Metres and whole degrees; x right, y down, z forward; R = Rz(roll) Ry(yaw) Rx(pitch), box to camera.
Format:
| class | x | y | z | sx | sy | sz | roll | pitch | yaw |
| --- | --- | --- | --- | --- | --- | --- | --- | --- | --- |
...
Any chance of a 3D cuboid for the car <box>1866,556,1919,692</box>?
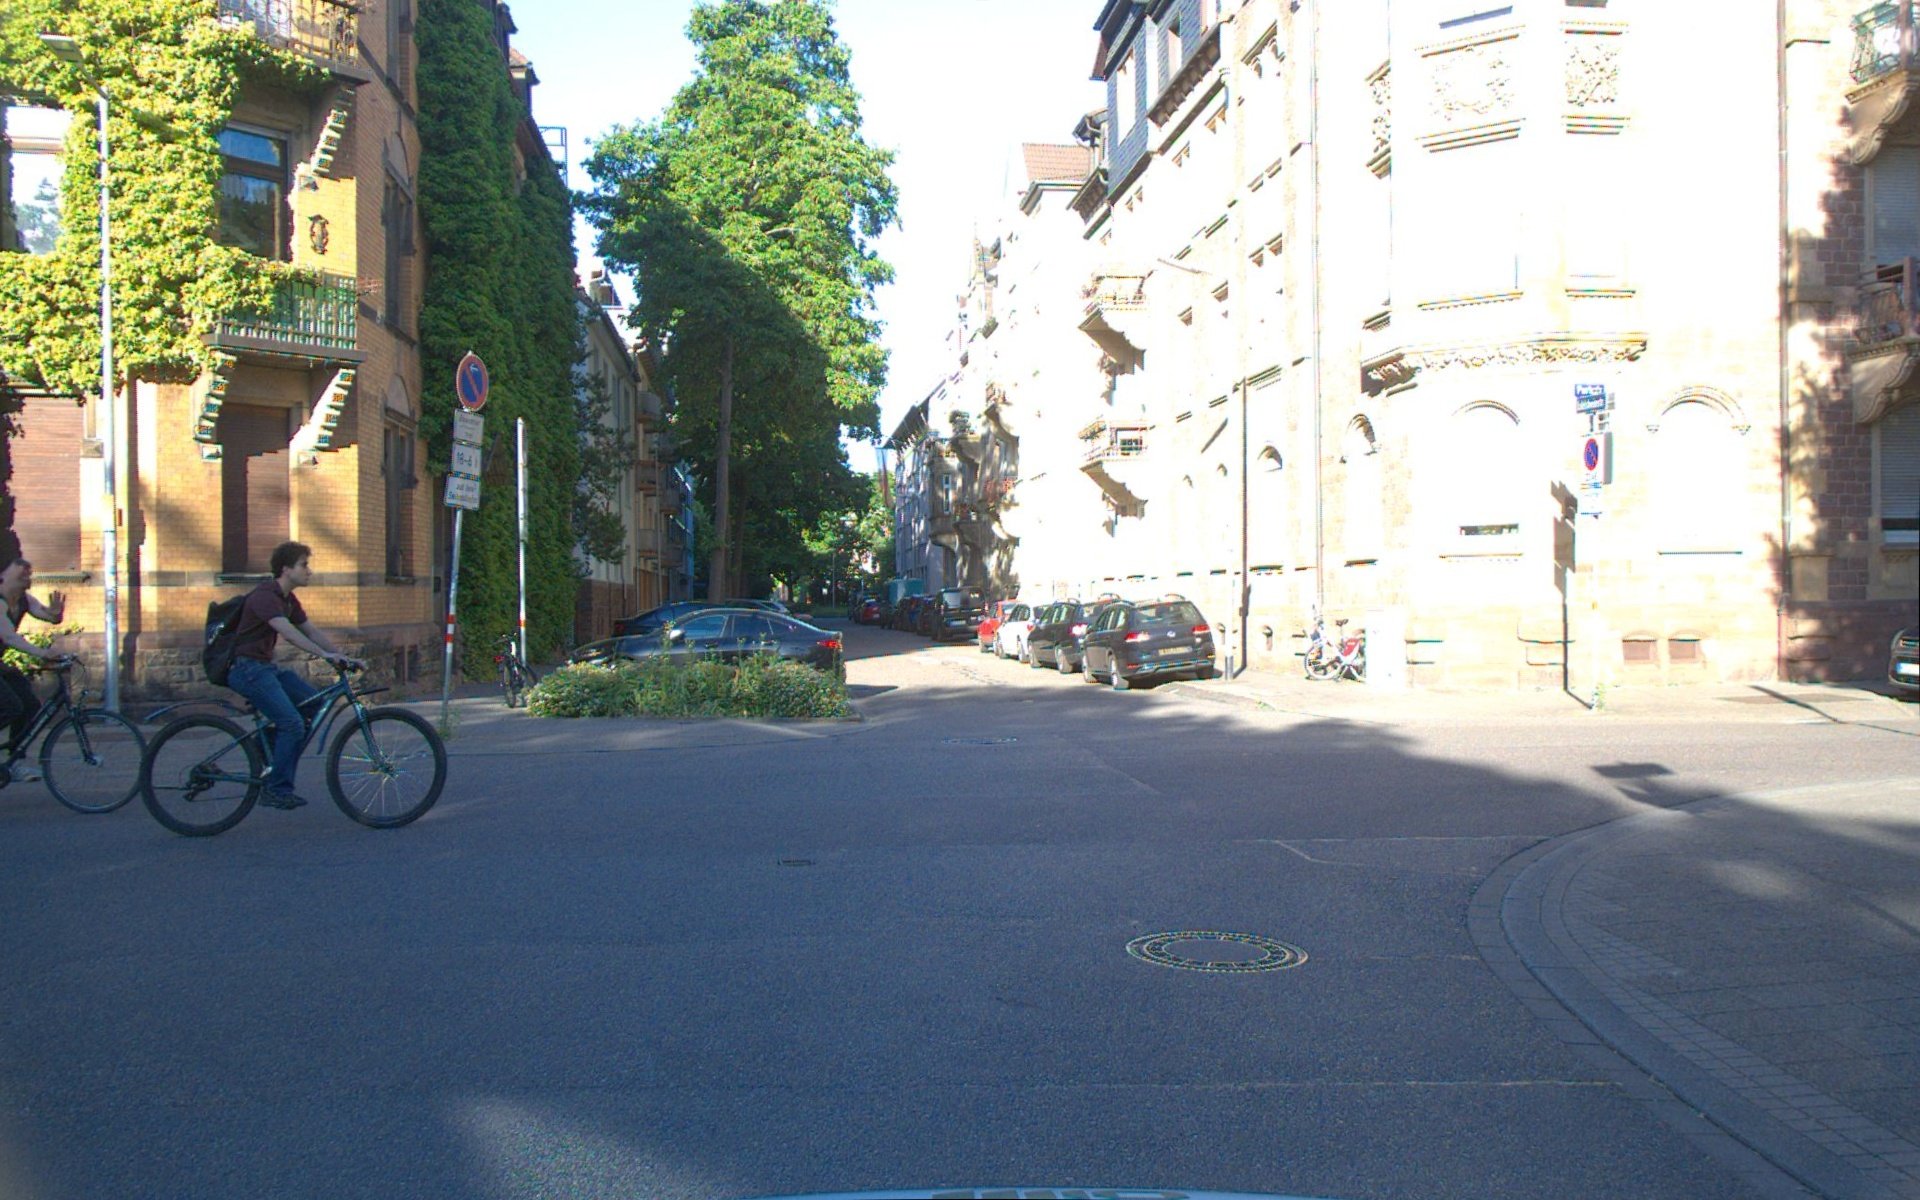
| class | x | y | z | sx | sy | sz | roll | pitch | yaw |
| --- | --- | --- | --- | --- | --- | --- | --- | --- | --- |
| car | 13.639 | 0.286 | 20.447 | 4.169 | 1.650 | 1.730 | 0 | 1 | -12 |

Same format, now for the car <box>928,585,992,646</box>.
| class | x | y | z | sx | sy | sz | roll | pitch | yaw |
| --- | --- | --- | --- | --- | --- | --- | --- | --- | --- |
| car | -0.033 | 0.514 | 57.470 | 1.768 | 2.039 | 3.994 | 0 | 0 | -7 |

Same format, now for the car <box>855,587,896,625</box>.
| class | x | y | z | sx | sy | sz | roll | pitch | yaw |
| --- | --- | --- | --- | --- | --- | --- | --- | --- | --- |
| car | -5.124 | 0.365 | 99.699 | 2.125 | 2.276 | 4.783 | 0 | 0 | -7 |

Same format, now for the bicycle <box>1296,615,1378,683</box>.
| class | x | y | z | sx | sy | sz | roll | pitch | yaw |
| --- | --- | --- | --- | --- | --- | --- | --- | --- | --- |
| bicycle | 5.847 | 0.748 | 25.697 | 0.506 | 1.015 | 1.568 | 0 | 0 | -18 |

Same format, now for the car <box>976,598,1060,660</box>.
| class | x | y | z | sx | sy | sz | roll | pitch | yaw |
| --- | --- | --- | --- | --- | --- | --- | --- | --- | --- |
| car | 1.531 | 0.752 | 45.106 | 1.704 | 1.609 | 3.994 | 0 | 0 | -7 |

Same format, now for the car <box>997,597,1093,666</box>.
| class | x | y | z | sx | sy | sz | roll | pitch | yaw |
| --- | --- | --- | --- | --- | --- | --- | --- | --- | --- |
| car | 2.014 | 0.735 | 40.410 | 1.704 | 1.609 | 3.994 | 0 | 0 | -7 |

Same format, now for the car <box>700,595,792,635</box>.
| class | x | y | z | sx | sy | sz | roll | pitch | yaw |
| --- | --- | --- | --- | --- | --- | --- | --- | --- | --- |
| car | -8.827 | 0.614 | 68.247 | 3.731 | 1.603 | 1.706 | 0 | 0 | -9 |

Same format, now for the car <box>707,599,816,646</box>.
| class | x | y | z | sx | sy | sz | roll | pitch | yaw |
| --- | --- | --- | --- | --- | --- | --- | --- | --- | --- |
| car | -7.046 | 0.784 | 58.579 | 3.733 | 1.603 | 1.706 | 0 | 0 | -11 |

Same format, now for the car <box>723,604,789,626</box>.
| class | x | y | z | sx | sy | sz | roll | pitch | yaw |
| --- | --- | --- | --- | --- | --- | --- | --- | --- | --- |
| car | -11.628 | 0.835 | 94.151 | 3.731 | 1.262 | 1.706 | 0 | 0 | -9 |

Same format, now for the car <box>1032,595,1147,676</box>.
| class | x | y | z | sx | sy | sz | roll | pitch | yaw |
| --- | --- | --- | --- | --- | --- | --- | --- | --- | --- |
| car | 2.683 | 0.716 | 35.080 | 1.704 | 1.609 | 3.994 | 0 | 0 | -7 |

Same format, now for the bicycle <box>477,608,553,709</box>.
| class | x | y | z | sx | sy | sz | roll | pitch | yaw |
| --- | --- | --- | --- | --- | --- | --- | --- | --- | --- |
| bicycle | -6.043 | 0.773 | 22.510 | 0.551 | 1.290 | 1.603 | -2 | 0 | 0 |

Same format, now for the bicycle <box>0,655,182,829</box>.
| class | x | y | z | sx | sy | sz | roll | pitch | yaw |
| --- | --- | --- | --- | --- | --- | --- | --- | --- | --- |
| bicycle | -6.486 | 0.978 | 11.352 | 1.930 | 1.091 | 0.695 | -2 | 0 | -15 |

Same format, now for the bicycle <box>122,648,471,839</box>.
| class | x | y | z | sx | sy | sz | roll | pitch | yaw |
| --- | --- | --- | --- | --- | --- | --- | --- | --- | --- |
| bicycle | -4.077 | 0.866 | 10.285 | 1.926 | 1.091 | 0.556 | 0 | 2 | -10 |

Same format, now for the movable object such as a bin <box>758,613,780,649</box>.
| class | x | y | z | sx | sy | sz | roll | pitch | yaw |
| --- | --- | --- | --- | --- | --- | --- | --- | --- | --- |
| movable object such as a bin | -5.813 | 0.940 | 50.334 | 0.618 | 1.071 | 0.566 | 0 | 0 | -13 |

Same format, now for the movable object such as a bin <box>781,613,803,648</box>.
| class | x | y | z | sx | sy | sz | roll | pitch | yaw |
| --- | --- | --- | --- | --- | --- | --- | --- | --- | --- |
| movable object such as a bin | -5.141 | 0.929 | 50.518 | 0.618 | 1.071 | 0.566 | 0 | 0 | -13 |

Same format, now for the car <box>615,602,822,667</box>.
| class | x | y | z | sx | sy | sz | roll | pitch | yaw |
| --- | --- | --- | --- | --- | --- | --- | --- | --- | --- |
| car | -5.671 | 0.791 | 39.033 | 4.745 | 1.460 | 1.707 | 0 | 0 | -9 |

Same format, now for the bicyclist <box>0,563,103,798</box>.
| class | x | y | z | sx | sy | sz | roll | pitch | yaw |
| --- | --- | --- | --- | --- | --- | --- | --- | --- | --- |
| bicyclist | -6.469 | 0.534 | 11.302 | 0.953 | 1.553 | 0.705 | 0 | 0 | -16 |

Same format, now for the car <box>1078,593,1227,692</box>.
| class | x | y | z | sx | sy | sz | roll | pitch | yaw |
| --- | --- | --- | --- | --- | --- | --- | --- | --- | --- |
| car | 3.286 | 0.694 | 28.944 | 1.704 | 1.609 | 3.994 | 0 | 0 | -7 |

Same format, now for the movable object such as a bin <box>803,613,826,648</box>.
| class | x | y | z | sx | sy | sz | roll | pitch | yaw |
| --- | --- | --- | --- | --- | --- | --- | --- | --- | --- |
| movable object such as a bin | -4.458 | 0.932 | 50.633 | 0.618 | 1.071 | 0.566 | 0 | 0 | -13 |

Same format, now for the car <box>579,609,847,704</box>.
| class | x | y | z | sx | sy | sz | roll | pitch | yaw |
| --- | --- | --- | --- | --- | --- | --- | --- | --- | --- |
| car | -3.999 | 0.888 | 26.957 | 4.164 | 1.460 | 1.996 | 0 | 0 | -9 |

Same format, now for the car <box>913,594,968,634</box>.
| class | x | y | z | sx | sy | sz | roll | pitch | yaw |
| --- | --- | --- | --- | --- | --- | --- | --- | --- | --- |
| car | -0.803 | 0.548 | 65.926 | 1.768 | 1.541 | 3.994 | 0 | 0 | -7 |

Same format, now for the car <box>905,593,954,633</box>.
| class | x | y | z | sx | sy | sz | roll | pitch | yaw |
| --- | --- | --- | --- | --- | --- | --- | --- | --- | --- |
| car | -1.359 | 0.559 | 72.502 | 1.768 | 1.708 | 3.994 | 0 | 0 | -7 |

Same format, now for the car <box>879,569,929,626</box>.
| class | x | y | z | sx | sy | sz | roll | pitch | yaw |
| --- | --- | --- | --- | --- | --- | --- | --- | --- | --- |
| car | -2.837 | -0.117 | 82.736 | 2.125 | 2.738 | 4.783 | 0 | 0 | -7 |

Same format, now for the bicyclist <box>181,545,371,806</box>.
| class | x | y | z | sx | sy | sz | roll | pitch | yaw |
| --- | --- | --- | --- | --- | --- | --- | --- | --- | --- |
| bicyclist | -4.235 | 0.452 | 10.307 | 0.951 | 1.553 | 0.719 | 0 | 0 | -10 |
